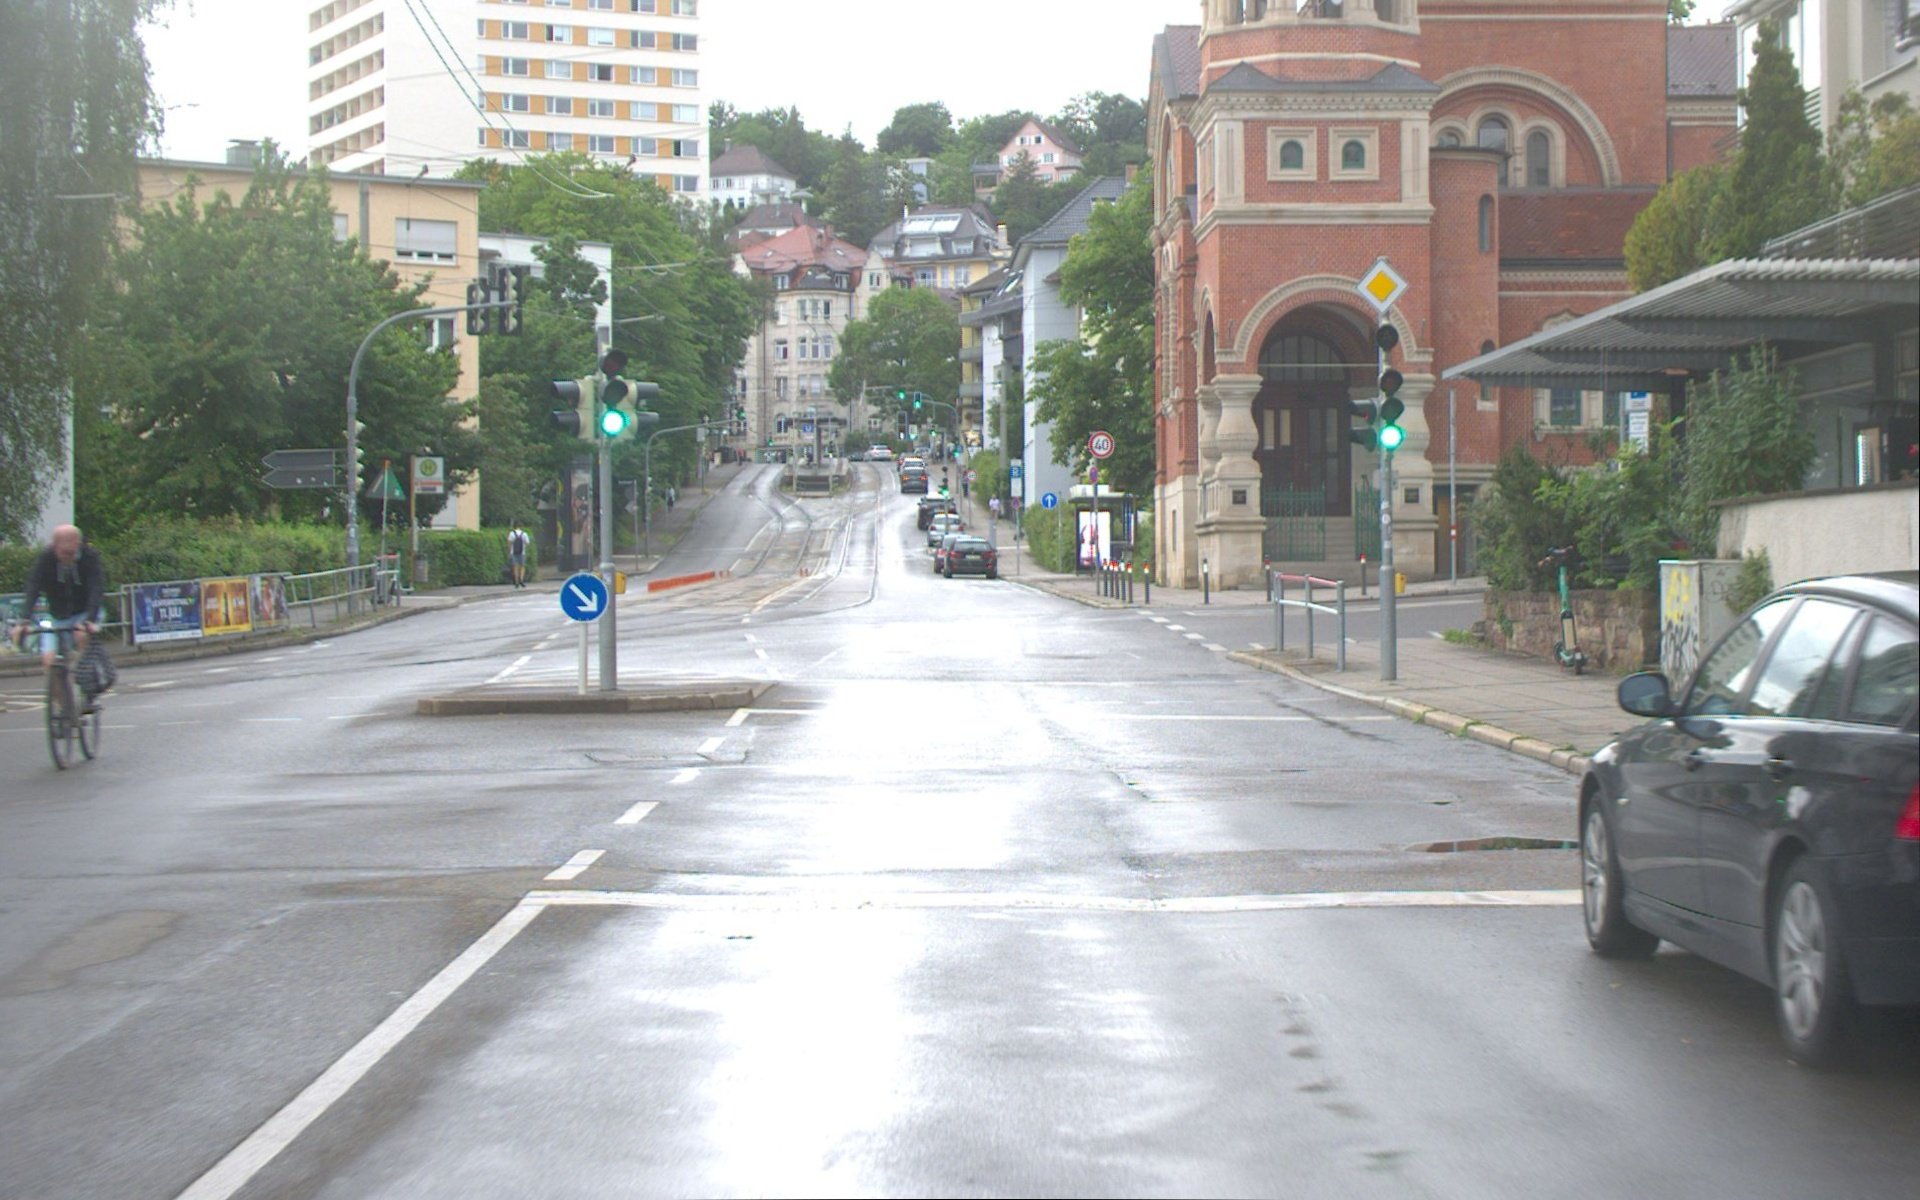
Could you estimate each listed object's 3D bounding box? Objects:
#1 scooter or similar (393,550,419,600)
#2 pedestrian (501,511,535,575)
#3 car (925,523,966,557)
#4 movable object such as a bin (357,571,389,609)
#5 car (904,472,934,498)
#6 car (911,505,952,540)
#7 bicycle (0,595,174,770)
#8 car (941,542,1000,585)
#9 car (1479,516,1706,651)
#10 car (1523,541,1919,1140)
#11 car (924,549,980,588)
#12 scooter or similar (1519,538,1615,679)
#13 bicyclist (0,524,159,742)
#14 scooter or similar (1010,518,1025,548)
[{"bbox_3d":[-13.437,-0.591,83.389,0.572,1.180,1.600,1,-1,-11],"label":"scooter or similar"},{"bbox_3d":[-12.926,-1.656,100.560,0.918,1.839,1.017,1,0,-5],"label":"pedestrian"},{"bbox_3d":[-0.677,-2.783,159.348,1.704,1.428,4.102,1,3,-2],"label":"car"},{"bbox_3d":[-13.918,-0.234,81.520,0.686,0.879,0.760,1,-1,-7],"label":"movable object such as a bin"},{"bbox_3d":[-2.665,-7.476,223.489,1.802,1.640,4.000,1,1,1],"label":"car"},{"bbox_3d":[-1.489,-3.964,175.524,1.906,1.636,4.690,1,3,-2],"label":"car"},{"bbox_3d":[-6.065,0.553,23.735,0.824,1.144,2.127,-1,-1,-1],"label":"bicycle"},{"bbox_3d":[0.345,-1.295,122.851,1.857,1.482,4.645,1,1,-3],"label":"car"},{"bbox_3d":[7.788,-0.164,42.720,1.853,1.498,4.449,-3,-1,-1],"label":"car"},{"bbox_3d":[3.082,0.570,10.838,1.730,1.455,4.479,1,1,-2],"label":"car"},{"bbox_3d":[-0.321,-1.238,134.003,1.939,1.459,4.207,1,1,-3],"label":"car"},{"bbox_3d":[6.018,0.076,34.150,0.534,1.323,1.659,-5,0,0],"label":"scooter or similar"},{"bbox_3d":[-6.067,0.229,23.706,0.824,1.457,1.140,1,-1,-1],"label":"bicyclist"},{"bbox_3d":[2.673,-3.114,159.939,0.575,1.245,1.610,0,5,4],"label":"scooter or similar"}]
